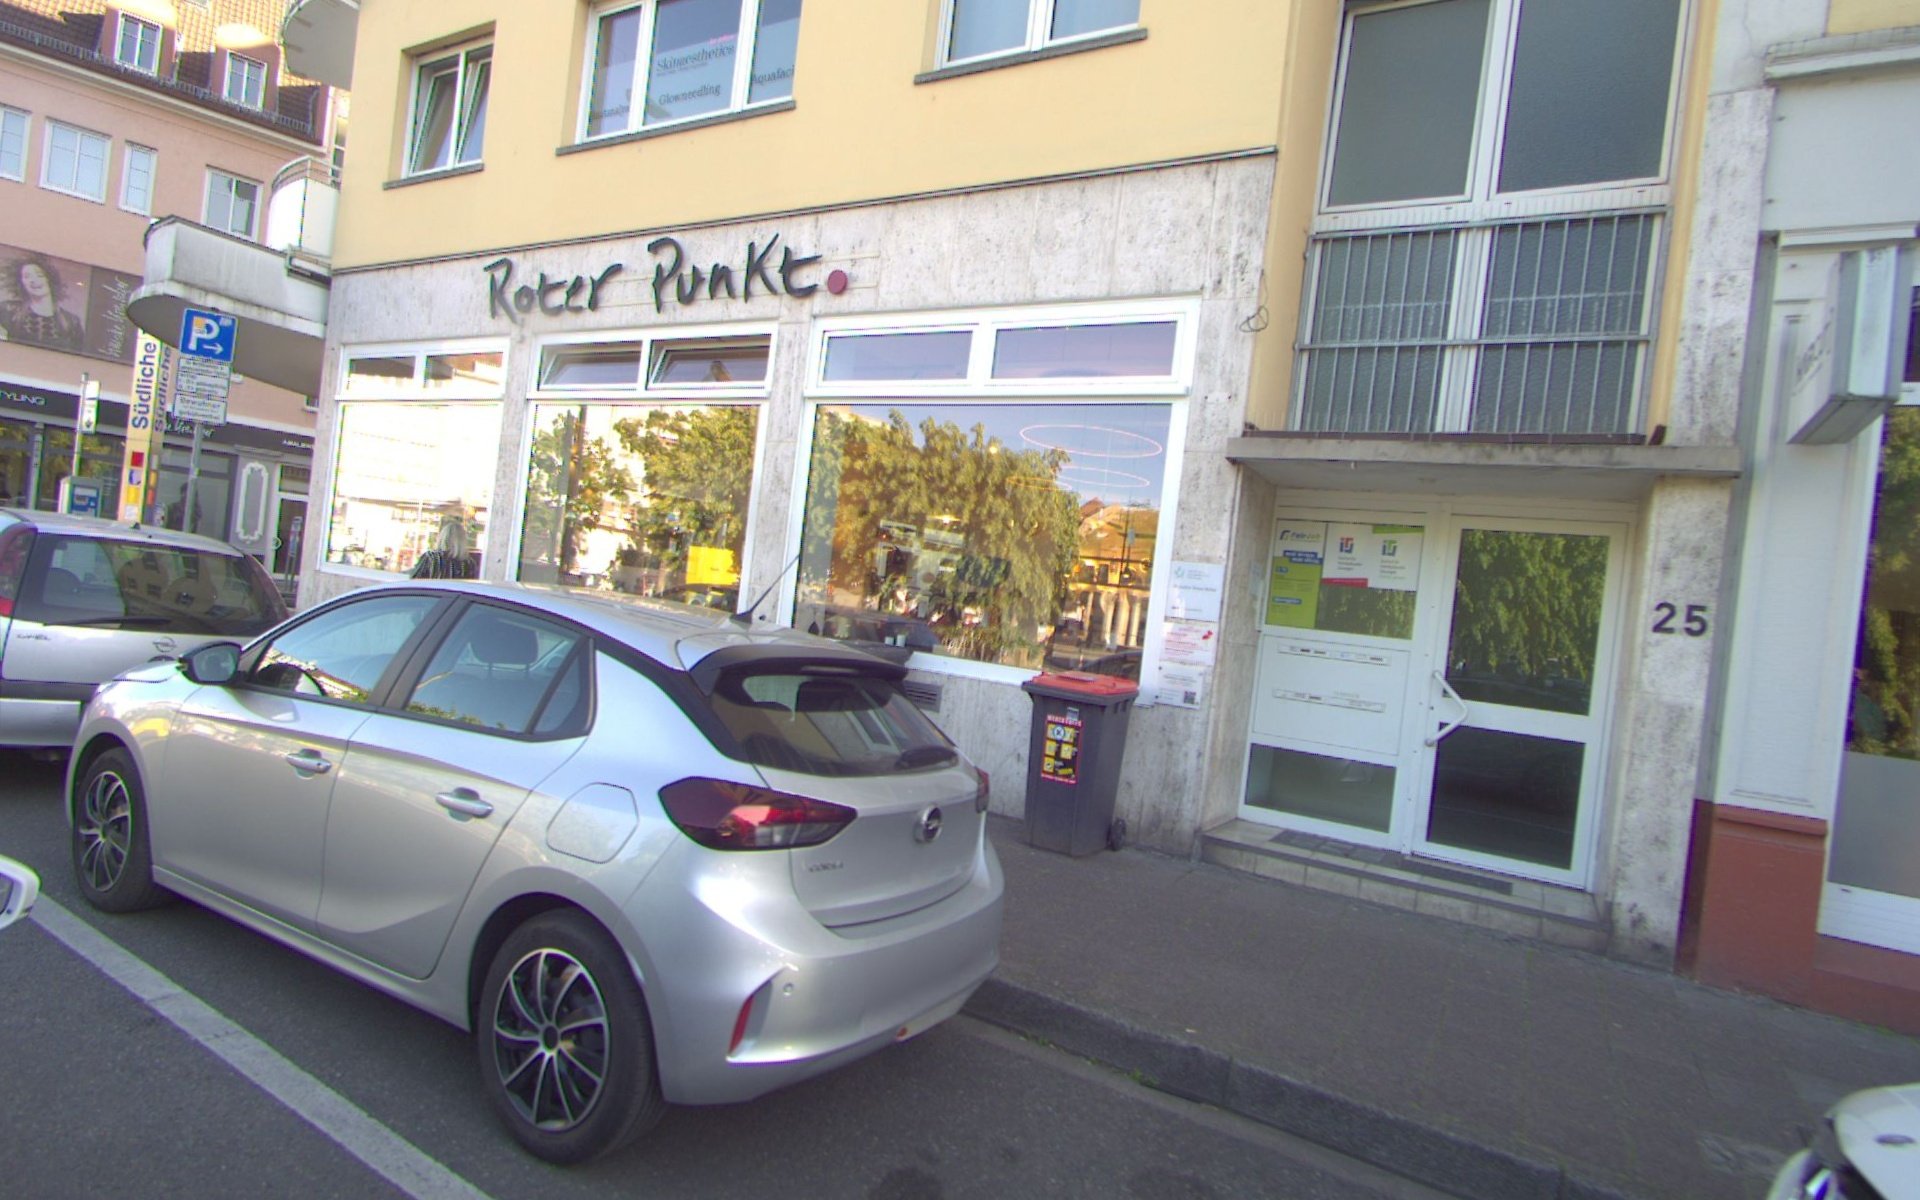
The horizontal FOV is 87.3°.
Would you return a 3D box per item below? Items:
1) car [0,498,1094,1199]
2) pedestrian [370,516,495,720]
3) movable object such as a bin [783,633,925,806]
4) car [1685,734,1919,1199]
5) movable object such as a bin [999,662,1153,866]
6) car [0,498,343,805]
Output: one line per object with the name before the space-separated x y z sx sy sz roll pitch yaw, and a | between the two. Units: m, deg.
car | -1.733 0.577 3.871 4.007 1.444 1.674 7 -1 29
pedestrian | -4.553 0.152 8.689 0.618 1.654 0.661 6 2 36
movable object such as a bin | -0.742 0.807 7.112 0.609 1.082 0.703 7 3 31
car | 3.418 1.224 0.782 4.389 1.464 1.741 7 -1 31
movable object such as a bin | 0.723 0.967 6.197 0.609 1.082 0.703 7 3 31
car | -5.677 0.117 6.167 3.822 1.411 1.624 7 -1 33
